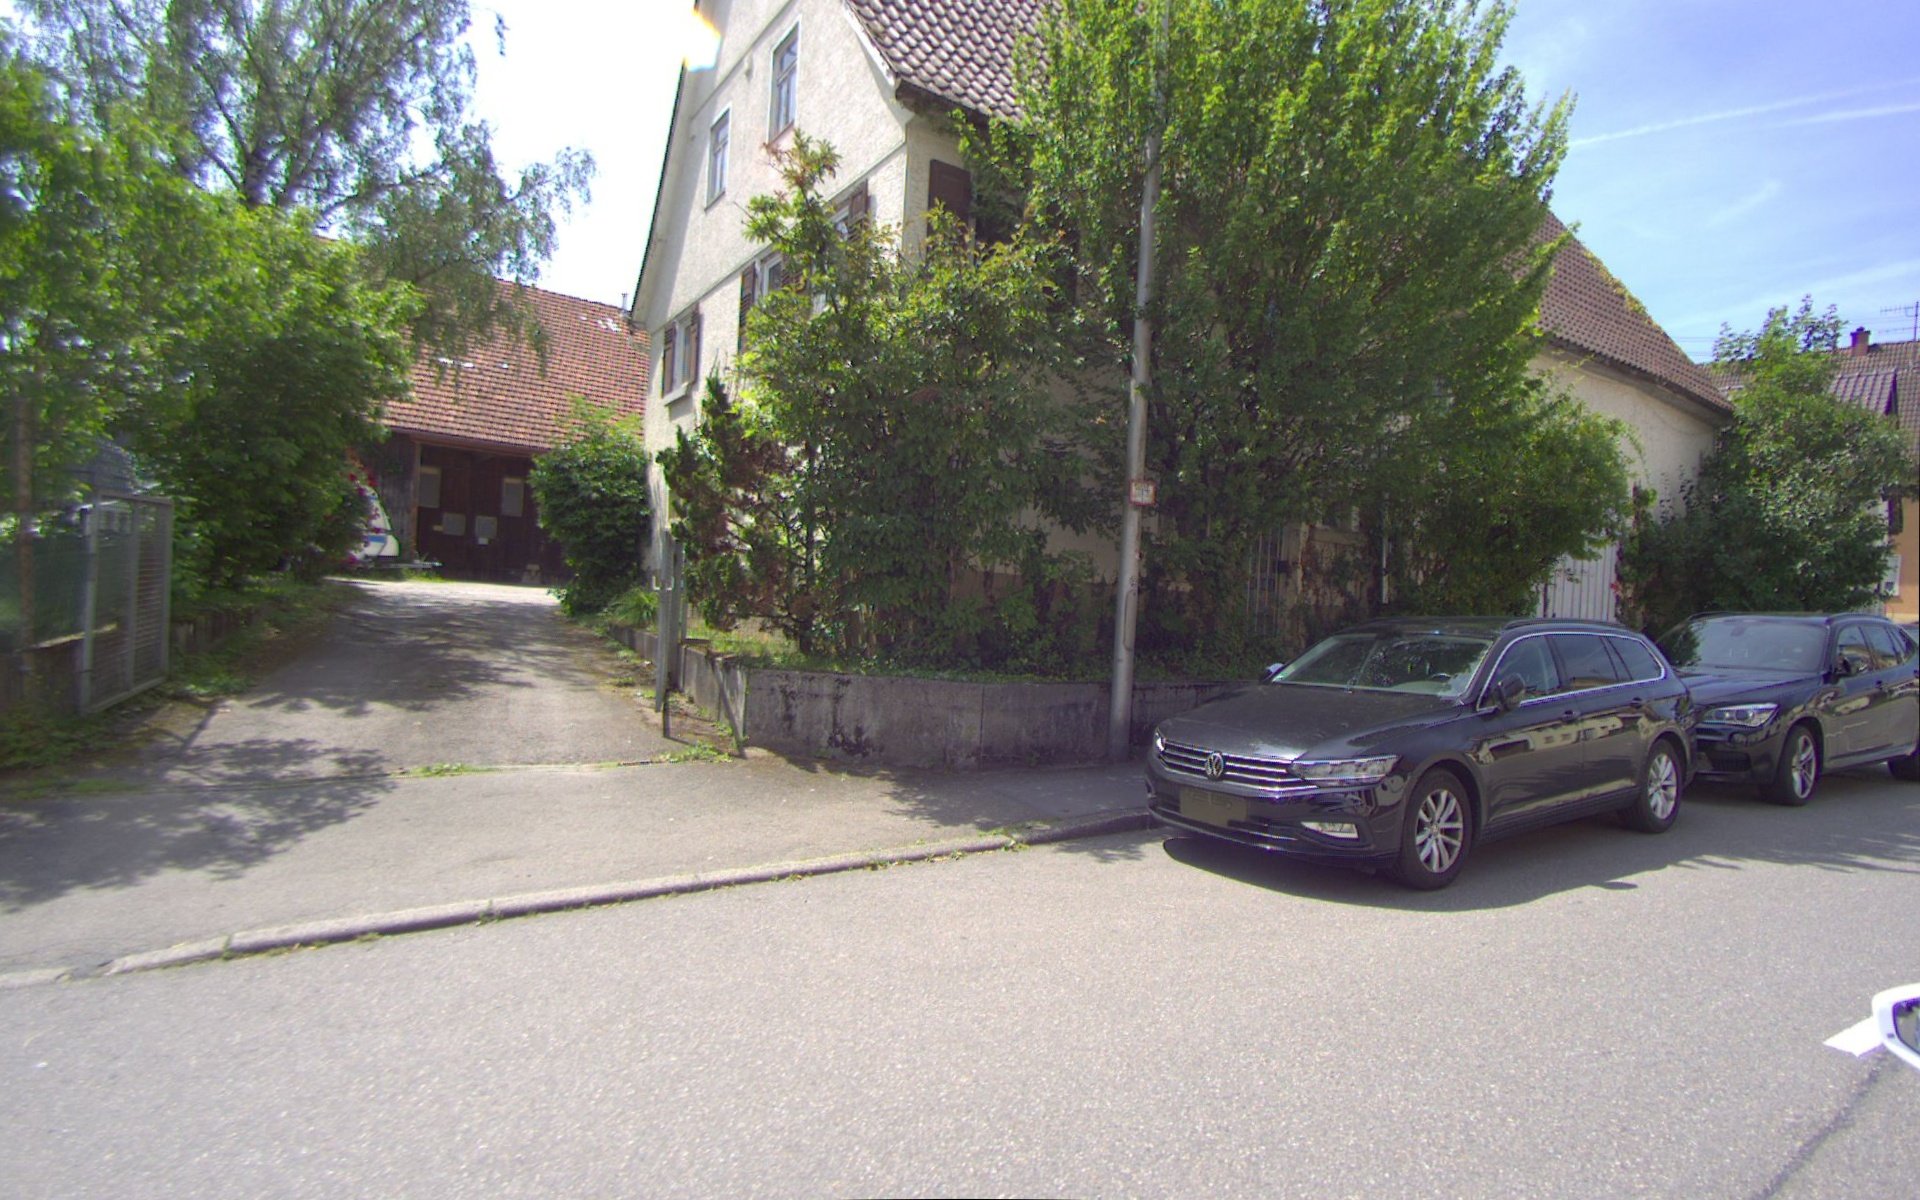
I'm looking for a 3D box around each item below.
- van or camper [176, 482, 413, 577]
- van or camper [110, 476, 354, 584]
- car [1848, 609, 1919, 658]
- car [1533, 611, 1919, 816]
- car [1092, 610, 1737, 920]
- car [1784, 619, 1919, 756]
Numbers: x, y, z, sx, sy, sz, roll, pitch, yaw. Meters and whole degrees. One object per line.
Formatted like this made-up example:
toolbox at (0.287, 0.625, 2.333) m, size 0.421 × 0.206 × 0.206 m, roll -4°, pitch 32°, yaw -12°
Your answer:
van or camper at (-16.470, -1.668, 25.026) m, size 4.773 × 2.041 × 1.979 m, roll 1°, pitch 2°, yaw -37°
van or camper at (-15.579, -1.434, 21.784) m, size 3.947 × 2.041 × 1.987 m, roll 1°, pitch 2°, yaw -26°
car at (31.359, 1.176, 32.092) m, size 1.807 × 1.424 × 4.191 m, roll 1°, pitch 4°, yaw -41°
car at (7.466, 0.883, 9.408) m, size 4.249 × 1.541 × 1.747 m, roll 1°, pitch 0°, yaw -30°
car at (3.260, 0.843, 6.835) m, size 4.661 × 1.483 × 1.778 m, roll 1°, pitch -1°, yaw -33°
car at (12.316, 0.991, 12.589) m, size 4.725 × 1.493 × 1.808 m, roll 1°, pitch -1°, yaw -34°
